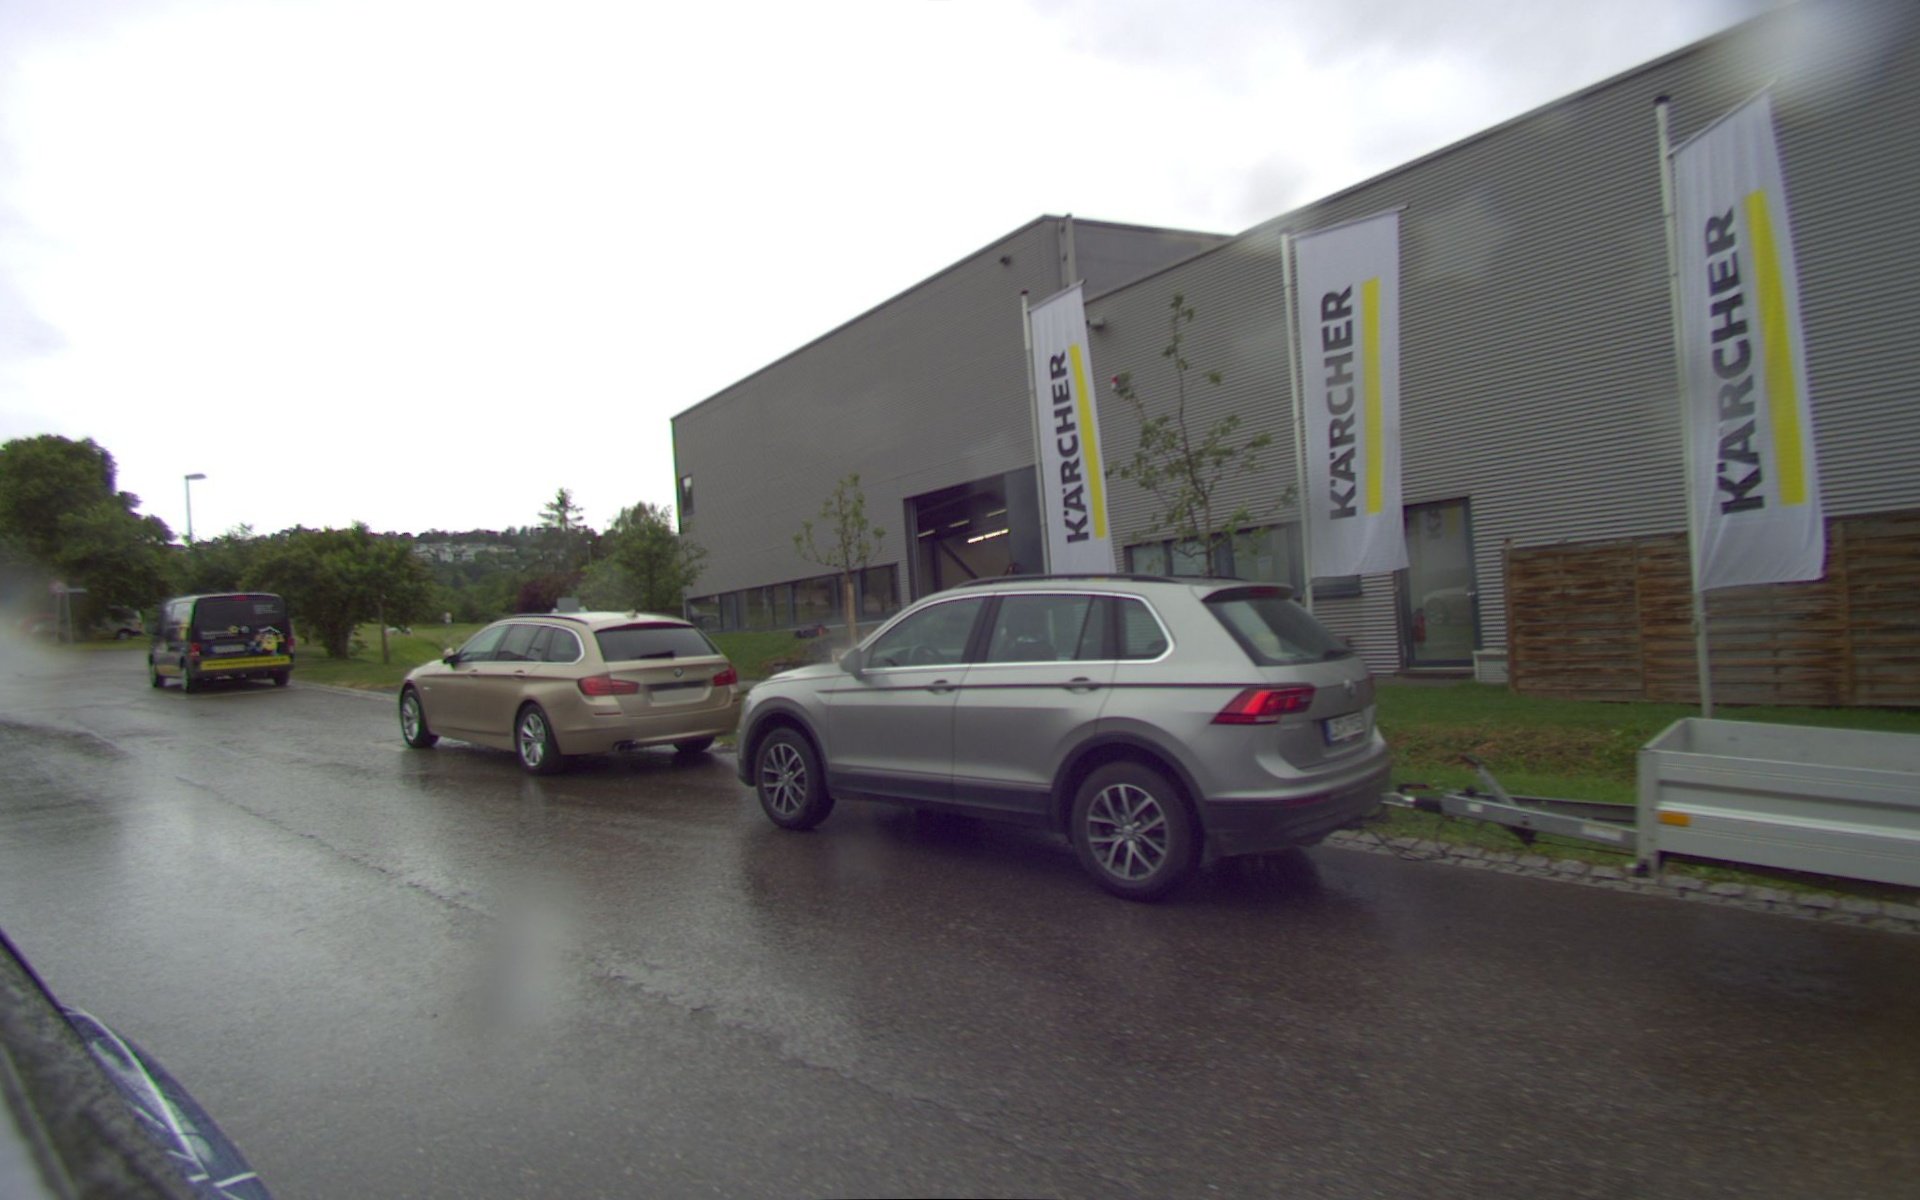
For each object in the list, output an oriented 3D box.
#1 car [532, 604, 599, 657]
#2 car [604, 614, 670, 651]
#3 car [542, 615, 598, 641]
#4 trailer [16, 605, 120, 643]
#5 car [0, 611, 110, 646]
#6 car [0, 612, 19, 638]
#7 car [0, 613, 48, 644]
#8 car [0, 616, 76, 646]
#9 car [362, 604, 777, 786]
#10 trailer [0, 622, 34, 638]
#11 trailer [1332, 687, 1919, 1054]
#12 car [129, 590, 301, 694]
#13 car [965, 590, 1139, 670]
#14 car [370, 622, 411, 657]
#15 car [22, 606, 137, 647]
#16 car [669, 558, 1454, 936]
[{"bbox_3d":[-16.236,1.307,41.482,2.099,1.936,5.627,-2,-2,-25],"label":"car"},{"bbox_3d":[-13.368,1.301,41.681,1.965,1.407,4.706,-1,-1,-25],"label":"car"},{"bbox_3d":[-35.043,2.493,90.924,4.425,2.237,1.936,0,-2,-30],"label":"car"},{"bbox_3d":[-50.429,1.337,57.272,1.772,1.999,4.172,-1,0,38],"label":"trailer"},{"bbox_3d":[-48.823,1.491,54.689,1.751,1.734,4.159,-1,0,35],"label":"car"},{"bbox_3d":[-65.617,1.689,67.155,2.040,1.734,4.331,-1,0,34],"label":"car"},{"bbox_3d":[-59.322,1.811,62.588,2.024,1.734,4.034,-1,2,40],"label":"car"},{"bbox_3d":[-56.700,1.884,61.192,1.804,1.601,4.574,-1,2,38],"label":"car"},{"bbox_3d":[-4.391,0.835,10.837,5.245,1.472,1.935,-1,0,41],"label":"car"},{"bbox_3d":[-61.508,1.971,64.091,1.996,0.968,3.906,-2,1,36],"label":"trailer"},{"bbox_3d":[3.565,0.917,3.593,3.894,0.895,1.663,-1,0,40],"label":"trailer"},{"bbox_3d":[-15.274,0.787,20.634,4.847,1.845,1.895,-1,0,43],"label":"car"},{"bbox_3d":[2.432,0.766,26.286,4.155,1.786,1.938,-2,-3,-37],"label":"car"},{"bbox_3d":[-32.855,2.285,58.383,1.966,1.767,4.396,-1,-4,-29],"label":"car"},{"bbox_3d":[-44.789,1.325,51.546,1.862,1.920,4.252,-1,0,44],"label":"car"},{"bbox_3d":[0.346,0.638,6.573,4.836,1.589,1.937,-1,0,40],"label":"car"}]
